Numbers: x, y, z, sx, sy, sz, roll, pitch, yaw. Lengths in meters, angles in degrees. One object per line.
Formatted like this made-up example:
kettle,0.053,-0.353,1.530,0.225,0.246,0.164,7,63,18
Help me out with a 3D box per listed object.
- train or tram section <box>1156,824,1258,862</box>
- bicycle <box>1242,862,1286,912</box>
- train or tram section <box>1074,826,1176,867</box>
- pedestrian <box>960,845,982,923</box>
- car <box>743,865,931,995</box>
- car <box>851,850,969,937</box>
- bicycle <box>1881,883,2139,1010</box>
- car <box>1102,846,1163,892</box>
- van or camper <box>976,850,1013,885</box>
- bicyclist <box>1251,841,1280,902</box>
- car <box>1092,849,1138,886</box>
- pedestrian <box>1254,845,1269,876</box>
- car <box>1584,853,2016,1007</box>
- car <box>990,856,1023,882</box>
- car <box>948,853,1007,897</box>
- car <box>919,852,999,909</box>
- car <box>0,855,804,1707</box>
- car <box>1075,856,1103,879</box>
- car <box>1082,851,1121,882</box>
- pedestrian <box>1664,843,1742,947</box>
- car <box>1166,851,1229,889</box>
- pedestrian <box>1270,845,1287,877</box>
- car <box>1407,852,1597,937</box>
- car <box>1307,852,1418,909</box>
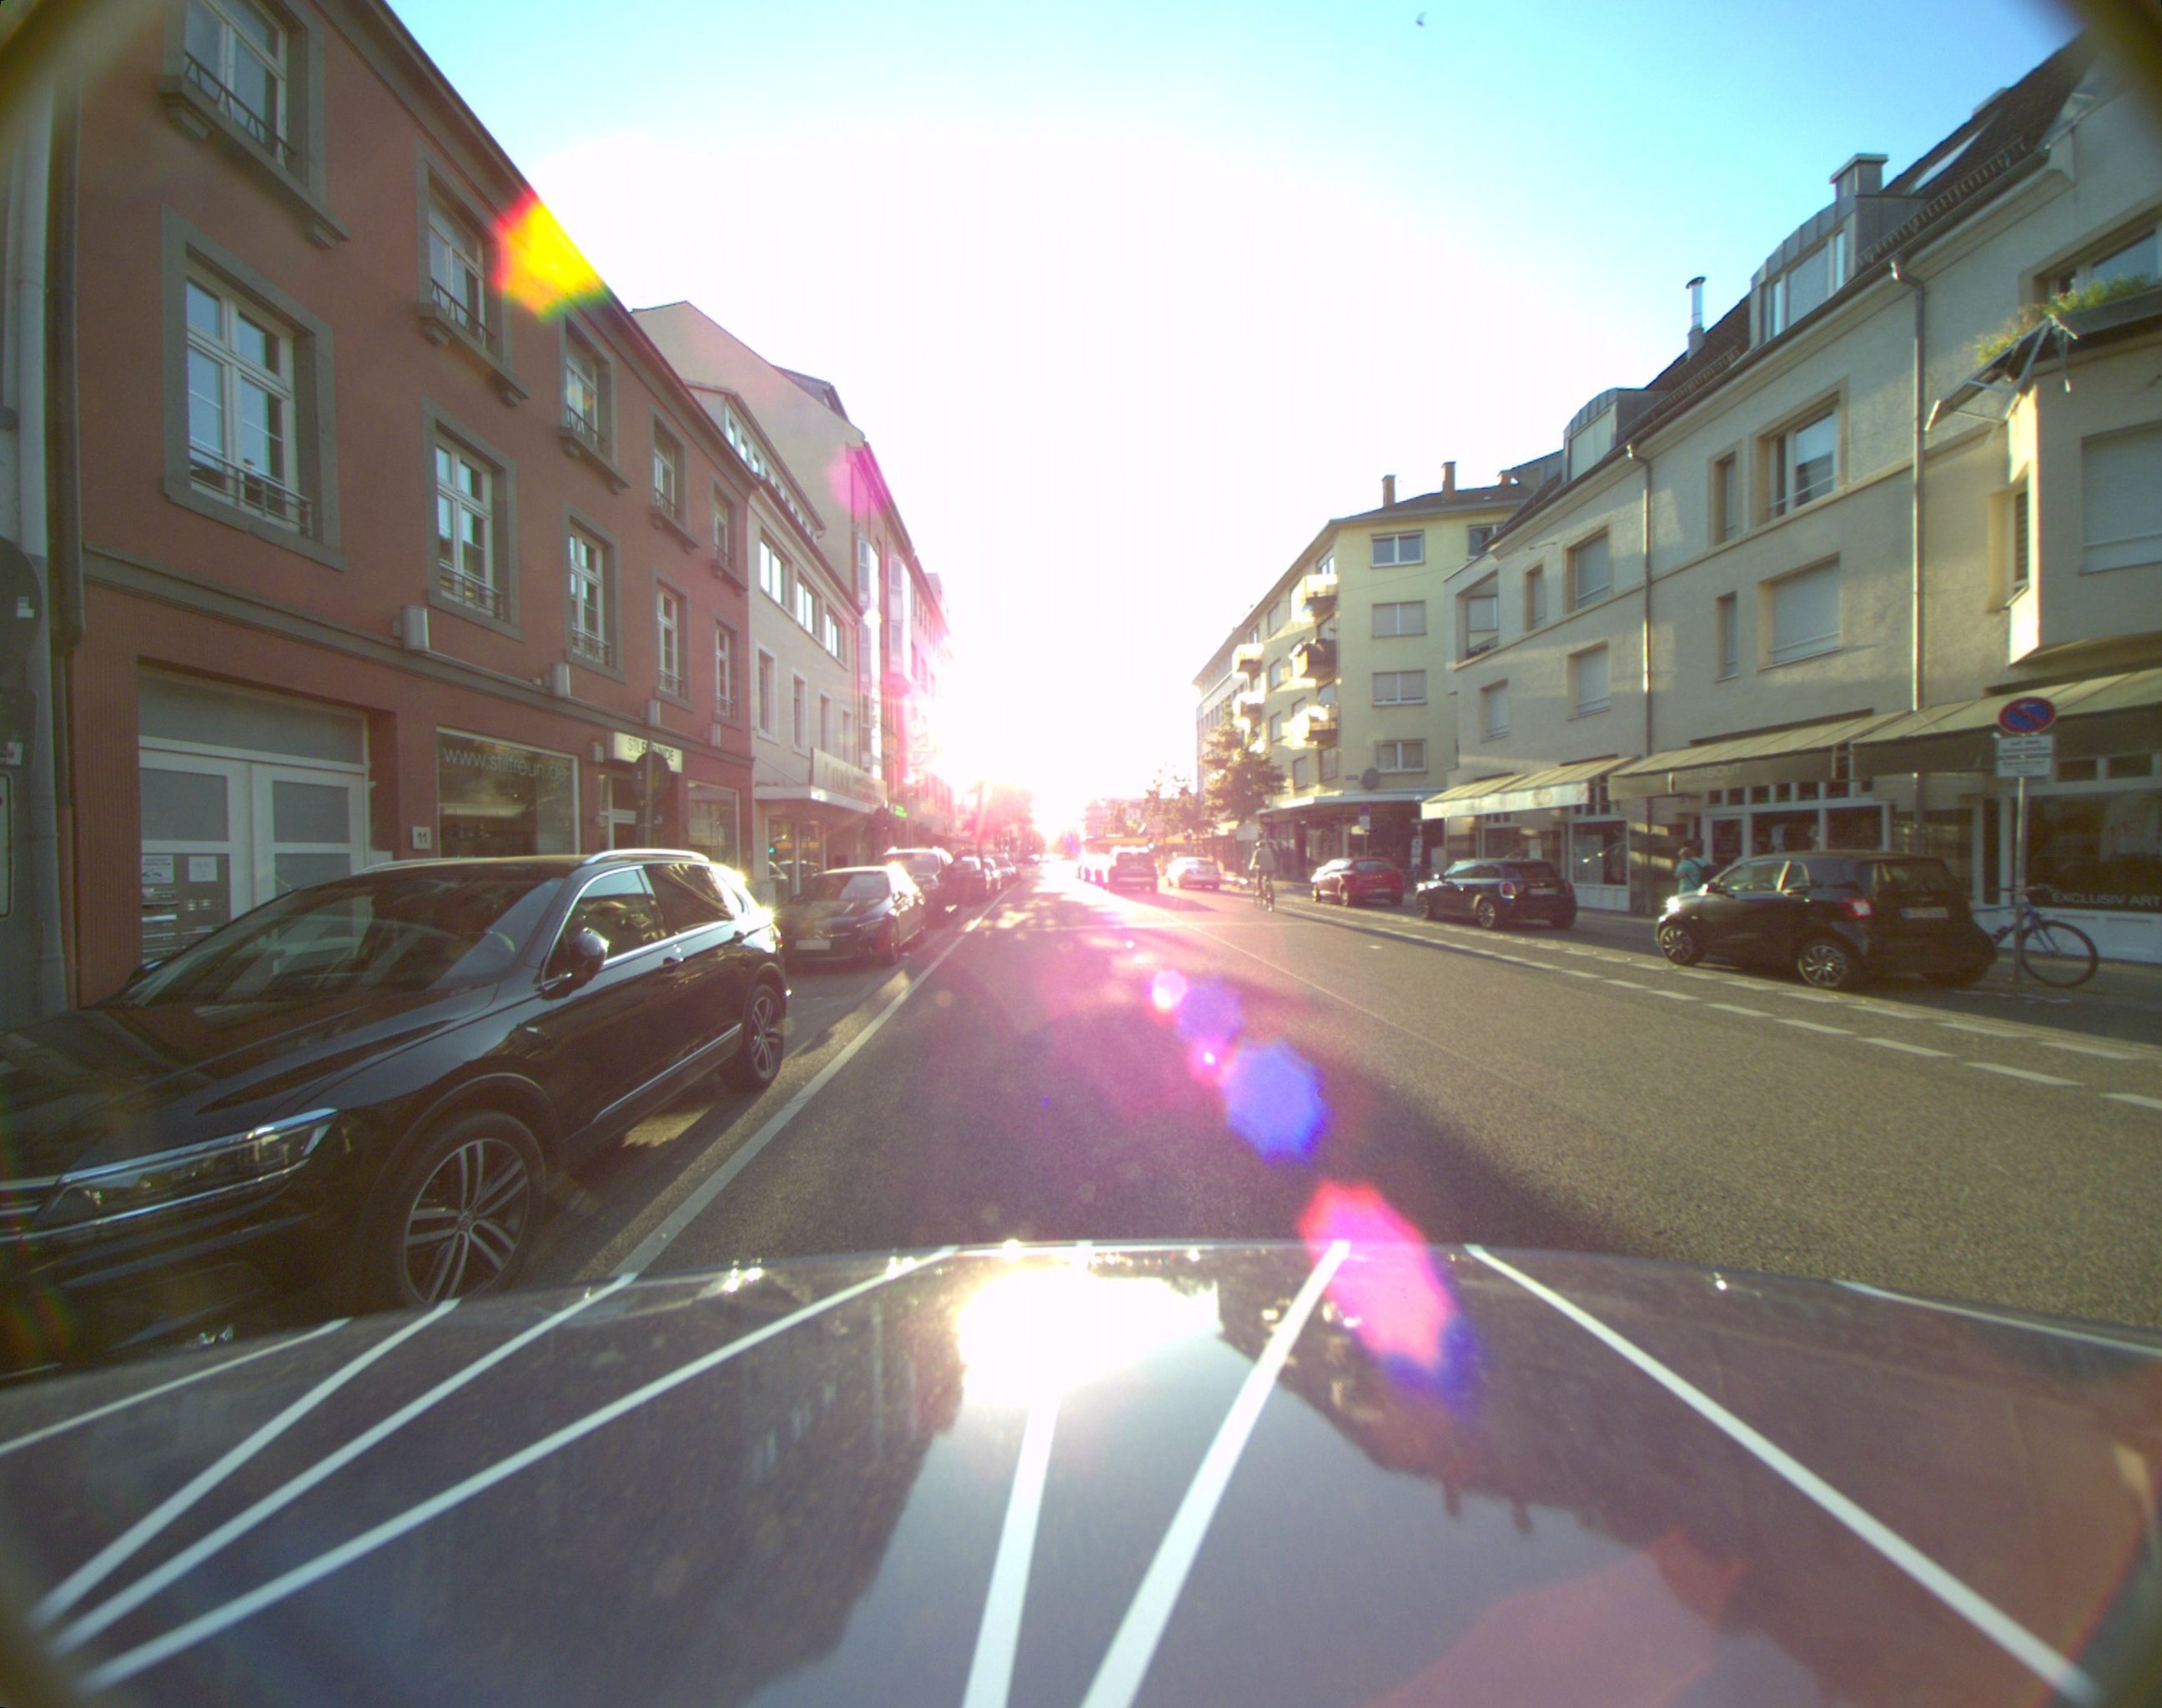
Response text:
train or tram section,14.093,-1.222,84.146,11.863,3.788,3.139,-3,1,-32
bicycle,4.889,0.851,20.433,0.665,1.235,2.130,1,1,1
train or tram section,4.615,-0.792,78.262,10.456,3.788,3.139,-3,1,-32
pedestrian,-2.675,0.716,18.423,0.485,1.847,0.539,-1,1,-10
car,-3.637,1.030,12.179,1.689,1.480,4.409,-3,1,-3
car,-4.000,0.819,18.684,1.999,1.767,5.316,-2,1,-4
bicycle,10.563,0.989,8.777,0.560,1.199,1.977,0,1,0
car,1.945,0.544,29.990,1.843,1.639,4.298,1,1,-3
van or camper,-4.702,0.660,40.894,1.794,1.763,4.554,-1,1,-8
bicyclist,4.900,0.450,20.209,0.548,1.571,0.803,-1,1,1
car,1.611,0.624,37.012,1.843,1.639,4.299,1,1,-2
pedestrian,10.615,0.362,44.718,0.720,1.781,0.666,-1,1,-1
car,8.947,0.802,10.030,1.794,1.571,3.965,-1,1,-4
car,-4.551,0.868,46.857,1.694,1.494,3.786,0,1,-1
car,-4.179,0.785,31.372,1.999,1.645,4.478,-1,1,-3
car,-4.006,0.815,25.634,1.999,1.645,4.626,-2,1,-1
car,-3.014,0.913,3.710,1.799,1.688,4.458,-3,1,-3
car,0.505,0.862,49.927,1.503,1.426,4.026,1,1,-3
car,1.149,0.674,43.622,1.843,1.639,4.298,1,1,-3
pedestrian,10.649,0.676,13.023,0.720,1.724,0.738,-1,1,-2
car,5.300,0.683,35.101,1.999,1.595,4.403,0,0,-3
pedestrian,11.099,0.384,42.689,0.720,1.781,0.666,-1,1,-1
car,8.808,0.767,16.305,1.794,1.571,3.785,-1,1,-4
car,8.483,0.736,23.255,1.794,1.571,3.785,-1,1,-4
